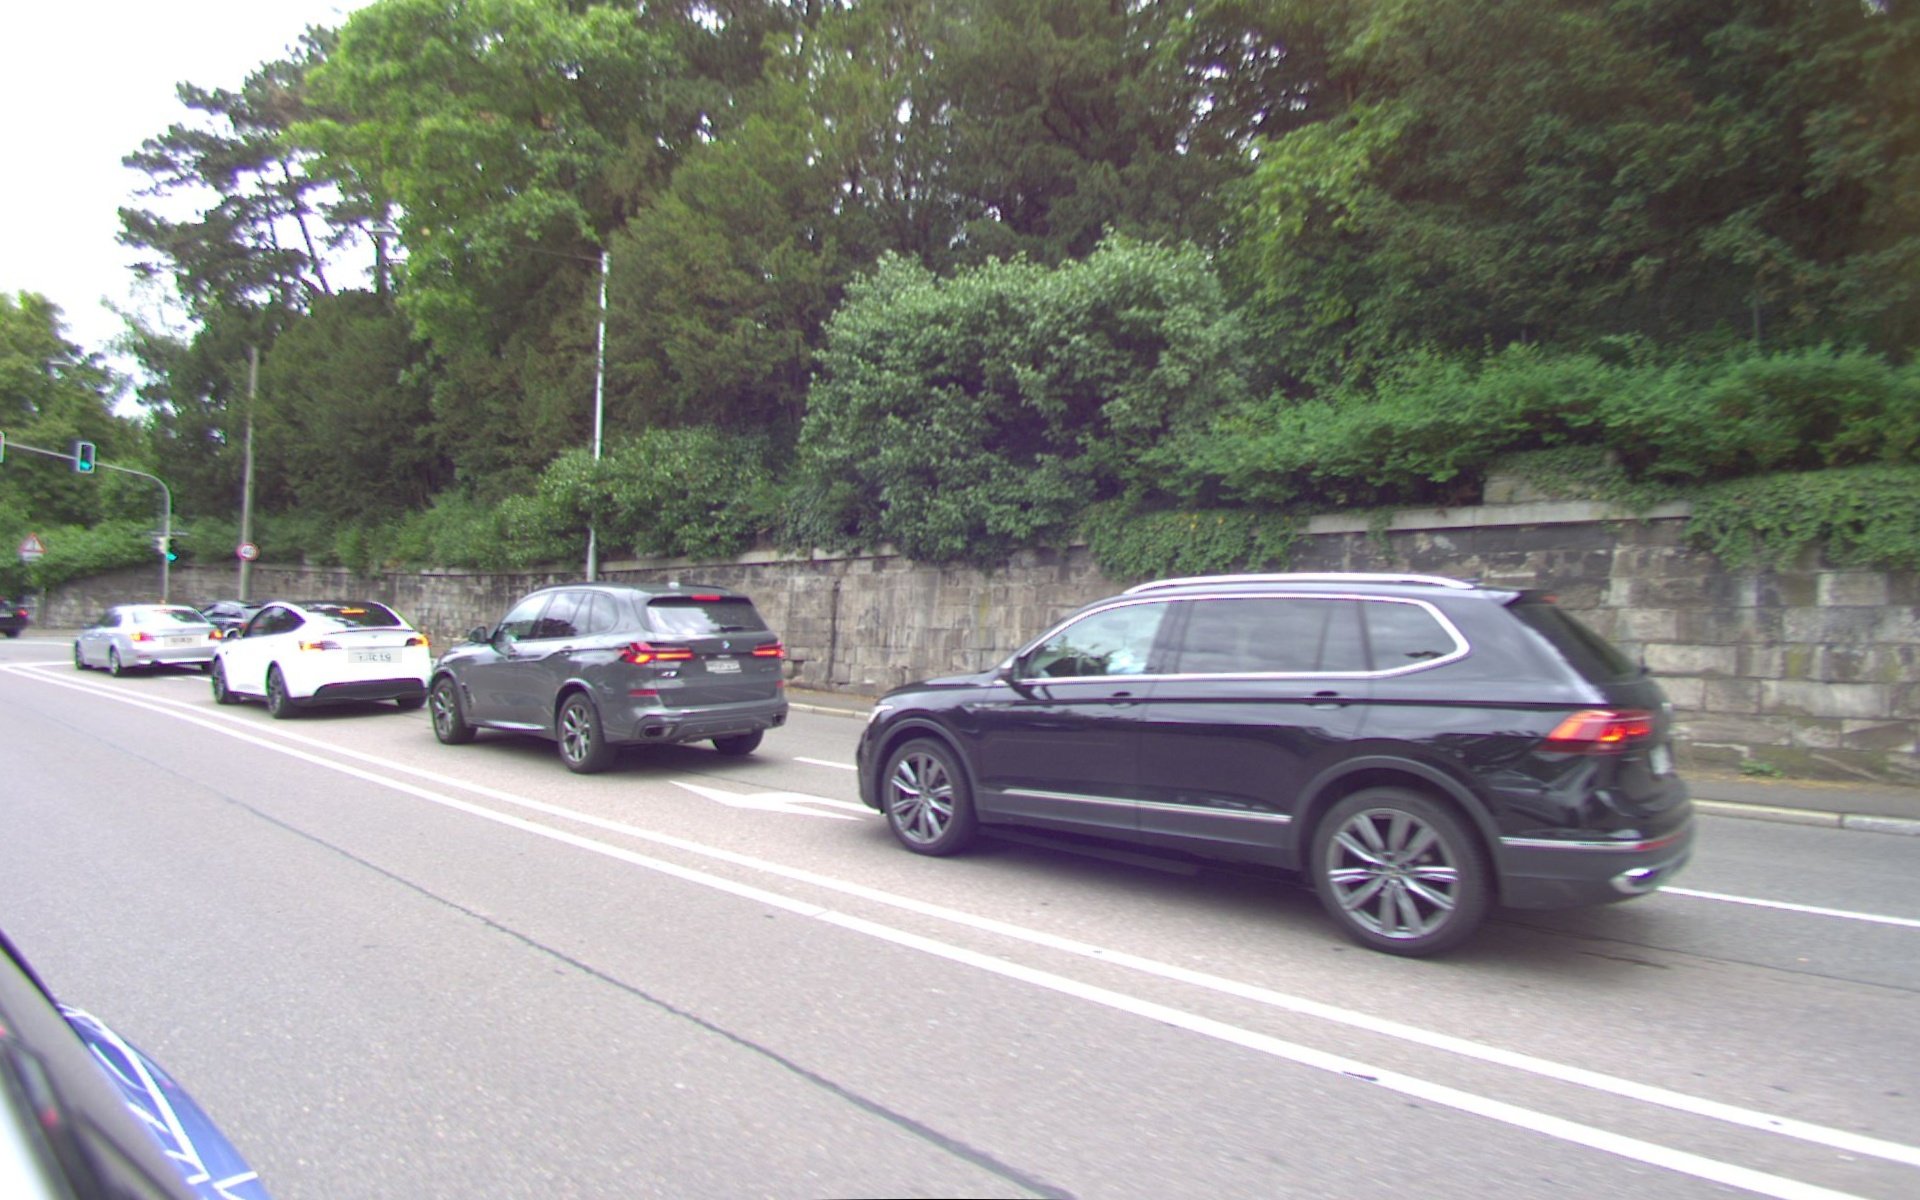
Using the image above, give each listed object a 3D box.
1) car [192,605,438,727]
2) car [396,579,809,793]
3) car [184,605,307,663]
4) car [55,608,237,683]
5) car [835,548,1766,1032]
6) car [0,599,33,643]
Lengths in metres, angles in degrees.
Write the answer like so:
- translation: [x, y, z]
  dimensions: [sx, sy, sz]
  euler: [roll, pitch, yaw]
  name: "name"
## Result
- translation: [-9.847, 0.879, 15.298]
  dimensions: [4.785, 1.566, 1.819]
  euler: [-1, -1, 40]
  name: "car"
- translation: [-3.955, 0.754, 10.719]
  dimensions: [4.875, 1.763, 1.939]
  euler: [-1, -2, 41]
  name: "car"
- translation: [-19.098, 0.858, 27.001]
  dimensions: [3.952, 1.445, 1.615]
  euler: [-1, 0, 38]
  name: "car"
- translation: [-17.932, 0.927, 22.219]
  dimensions: [4.869, 1.481, 1.975]
  euler: [0, -1, 37]
  name: "car"
- translation: [1.559, 0.701, 5.695]
  dimensions: [4.620, 1.664, 1.829]
  euler: [-1, -3, 40]
  name: "car"
- translation: [-34.071, 0.717, 34.552]
  dimensions: [4.013, 1.463, 1.730]
  euler: [-1, 0, 16]
  name: "car"
